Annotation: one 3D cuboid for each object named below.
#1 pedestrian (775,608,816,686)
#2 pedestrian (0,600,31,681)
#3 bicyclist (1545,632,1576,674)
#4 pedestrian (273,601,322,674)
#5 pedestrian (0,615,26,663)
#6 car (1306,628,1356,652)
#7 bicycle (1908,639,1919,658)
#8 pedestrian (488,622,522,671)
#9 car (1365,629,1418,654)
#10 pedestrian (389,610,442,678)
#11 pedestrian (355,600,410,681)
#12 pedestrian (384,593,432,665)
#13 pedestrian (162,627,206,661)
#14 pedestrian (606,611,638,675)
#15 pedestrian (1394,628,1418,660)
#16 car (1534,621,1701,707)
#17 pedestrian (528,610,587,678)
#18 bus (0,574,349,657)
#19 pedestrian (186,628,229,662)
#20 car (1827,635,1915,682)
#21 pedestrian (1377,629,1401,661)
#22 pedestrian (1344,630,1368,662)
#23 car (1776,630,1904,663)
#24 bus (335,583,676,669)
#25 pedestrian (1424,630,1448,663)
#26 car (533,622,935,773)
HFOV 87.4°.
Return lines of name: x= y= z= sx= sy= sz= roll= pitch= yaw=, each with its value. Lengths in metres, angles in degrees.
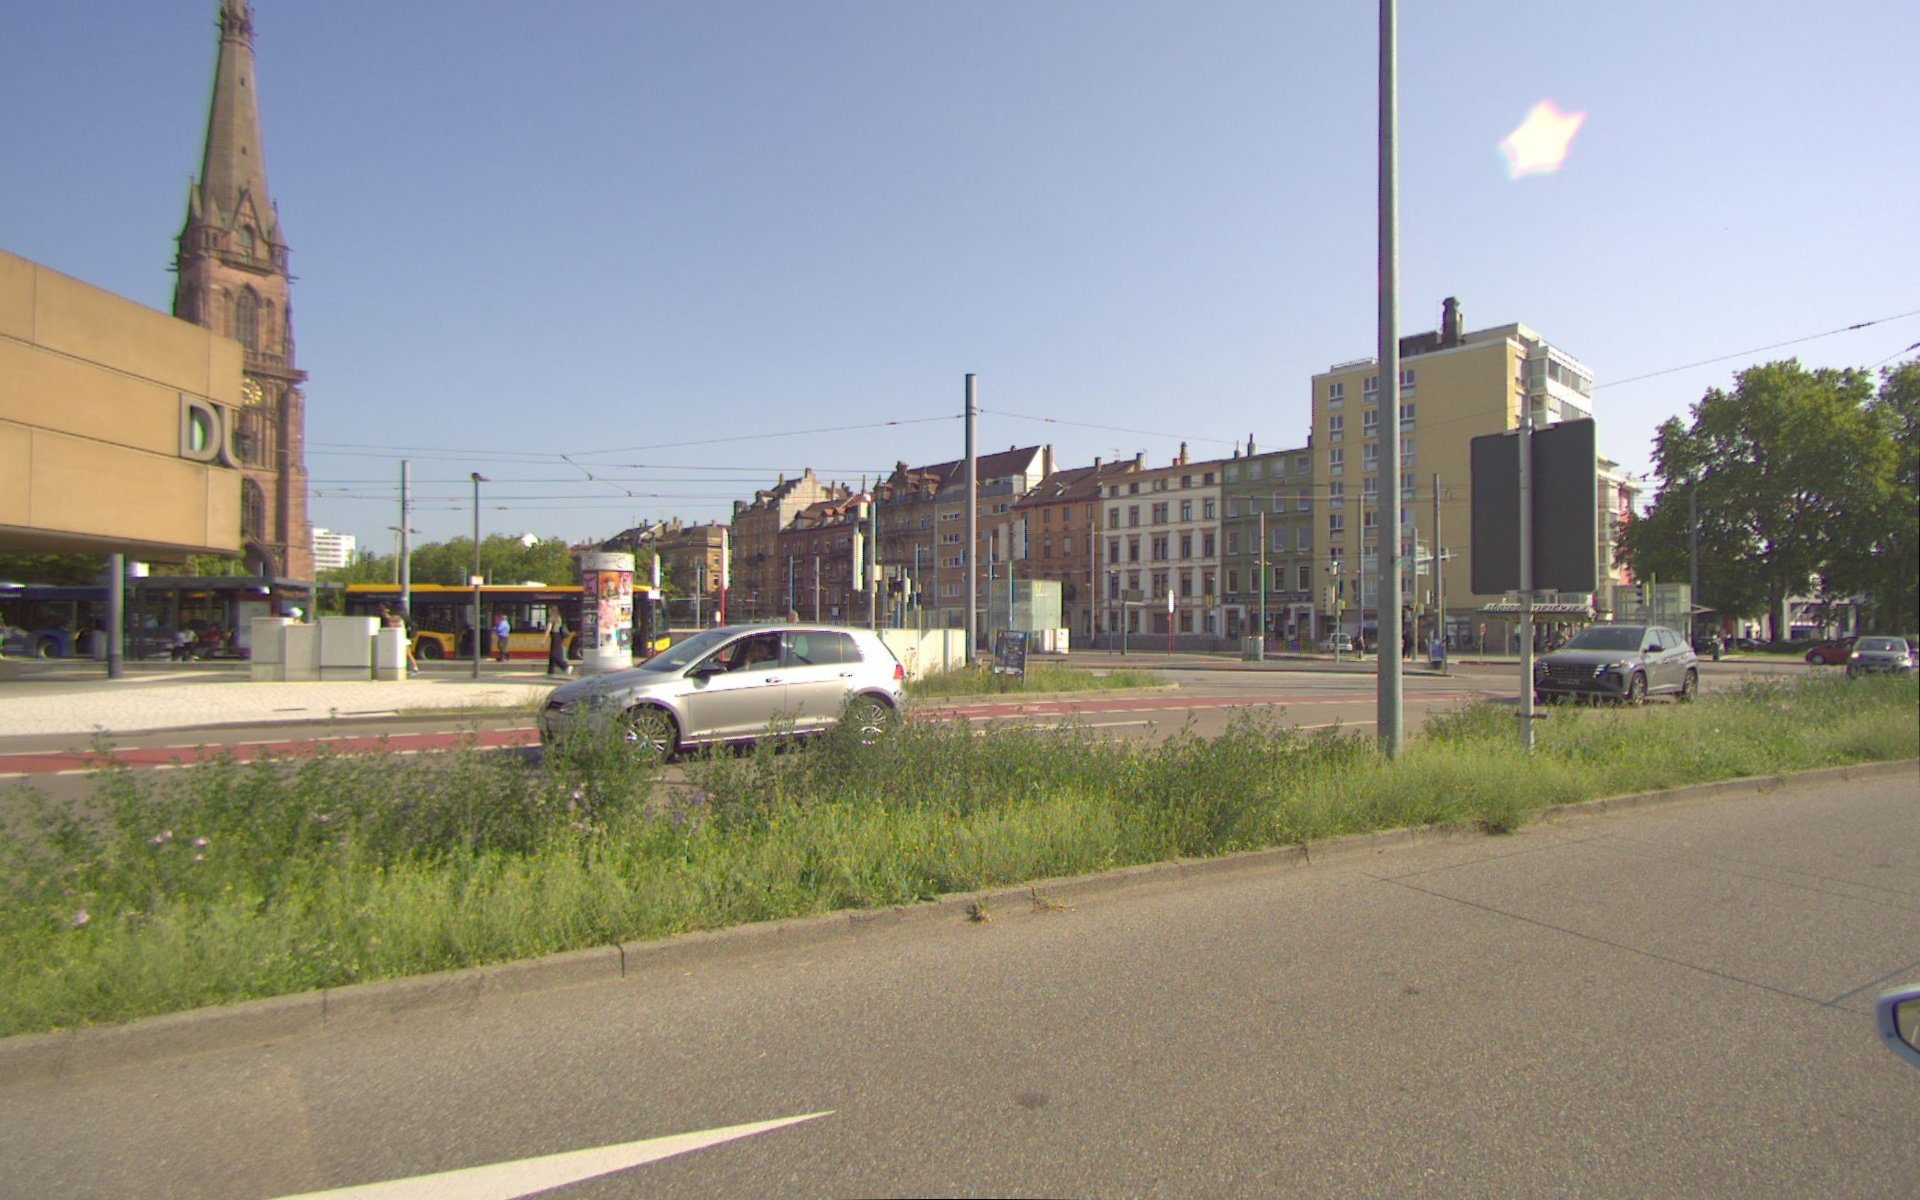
pedestrian: x=-3.956 y=1.124 z=24.127 sx=0.694 sy=1.824 sz=0.773 roll=1 pitch=-2 yaw=-34
pedestrian: x=-20.857 y=0.872 z=21.695 sx=0.717 sy=1.727 sz=0.866 roll=0 pitch=-2 yaw=-2
bicyclist: x=22.635 y=1.991 z=37.847 sx=0.719 sy=1.547 sz=0.788 roll=1 pitch=-2 yaw=-38
pedestrian: x=-15.914 y=0.894 z=24.126 sx=0.859 sy=1.694 sz=0.979 roll=2 pitch=-2 yaw=-39
pedestrian: x=-34.648 y=1.415 z=36.386 sx=0.820 sy=1.729 sz=0.830 roll=0 pitch=-2 yaw=-5
car: x=27.624 y=2.985 z=74.975 sx=1.961 sy=1.701 sz=4.550 roll=1 pitch=-1 yaw=-1
bicycle: x=53.476 y=2.658 z=54.724 sx=0.953 sy=1.071 sz=2.577 roll=2 pitch=-2 yaw=-41
pedestrian: x=-16.454 y=1.675 z=36.366 sx=0.819 sy=1.761 sz=0.831 roll=0 pitch=-2 yaw=1
car: x=30.432 y=2.906 z=71.027 sx=1.960 sy=1.701 sz=4.552 roll=1 pitch=-1 yaw=2
pedestrian: x=-12.976 y=1.035 z=23.966 sx=0.851 sy=1.583 sz=0.987 roll=1 pitch=-2 yaw=-13
pedestrian: x=-13.144 y=0.924 z=22.876 sx=0.852 sy=1.793 sz=0.986 roll=1 pitch=-2 yaw=-18
pedestrian: x=-13.666 y=0.719 z=24.880 sx=0.859 sy=1.727 sz=0.979 roll=2 pitch=-2 yaw=-39
pedestrian: x=-26.684 y=1.518 z=34.551 sx=0.724 sy=1.148 sz=1.030 roll=1 pitch=-2 yaw=-7
pedestrian: x=-9.907 y=1.252 z=29.434 sx=0.694 sy=1.824 sz=0.773 roll=1 pitch=-2 yaw=-34
pedestrian: x=24.171 y=2.386 z=54.420 sx=0.916 sy=1.712 sz=0.913 roll=2 pitch=-2 yaw=-44
car: x=14.009 y=1.304 z=21.315 sx=4.423 sy=1.638 sz=1.681 roll=2 pitch=-2 yaw=-39
pedestrian: x=-9.540 y=1.033 z=23.817 sx=0.970 sy=1.579 sz=0.866 roll=0 pitch=-2 yaw=8
bus: x=-30.924 y=0.623 z=38.901 sx=12.542 sy=3.017 sz=3.300 roll=0 pitch=-2 yaw=1
pedestrian: x=-25.834 y=1.544 z=34.490 sx=0.724 sy=1.148 sz=1.030 roll=1 pitch=-2 yaw=-7
car: x=30.491 y=1.921 z=33.587 sx=3.648 sy=1.471 sz=1.871 roll=2 pitch=-2 yaw=-43
pedestrian: x=23.656 y=2.482 z=55.400 sx=0.916 sy=1.712 sz=0.913 roll=2 pitch=-2 yaw=-44
pedestrian: x=22.010 y=2.542 z=55.837 sx=0.916 sy=1.712 sz=0.913 roll=2 pitch=-2 yaw=-44
car: x=42.778 y=2.243 z=48.910 sx=1.812 sy=1.555 sz=4.371 roll=1 pitch=-2 yaw=-34
bus: x=-17.398 y=1.008 z=38.894 sx=11.971 sy=3.149 sz=2.717 roll=0 pitch=-2 yaw=1
pedestrian: x=25.175 y=2.427 z=53.142 sx=0.916 sy=1.712 sz=0.913 roll=2 pitch=-2 yaw=-44
car: x=-2.532 y=1.007 z=11.600 sx=4.180 sy=1.452 sz=1.803 roll=2 pitch=-2 yaw=-33
